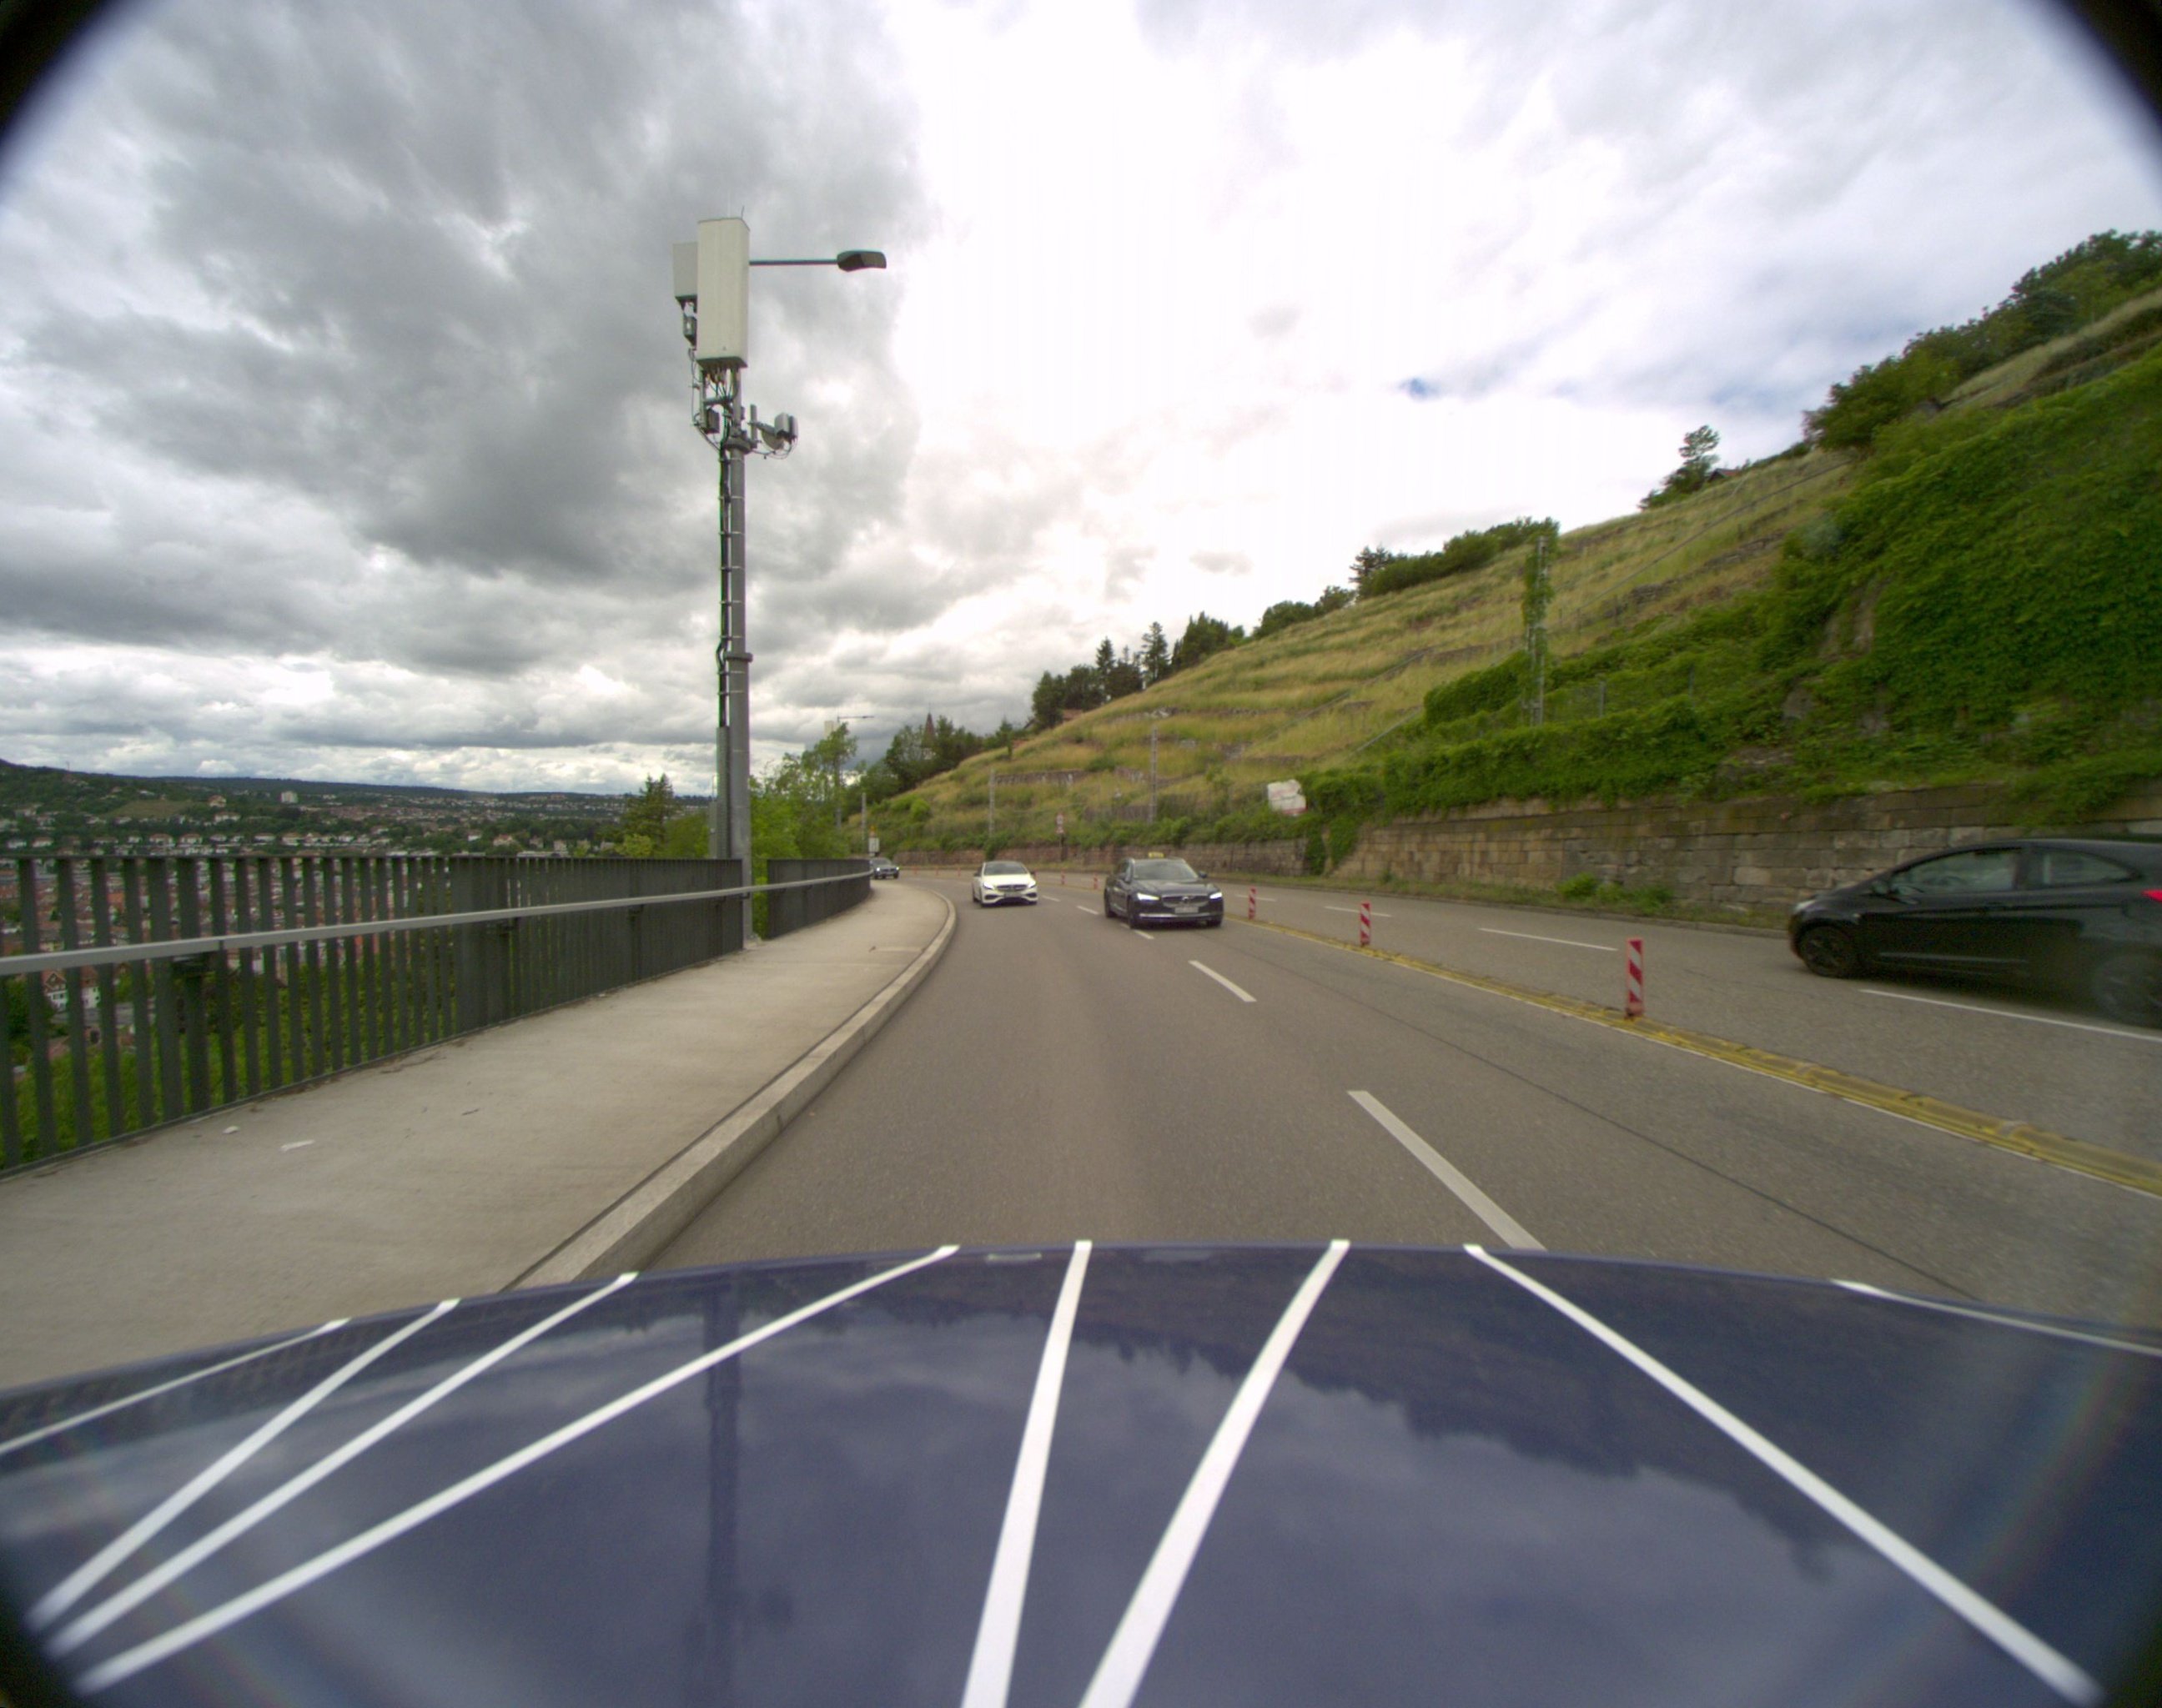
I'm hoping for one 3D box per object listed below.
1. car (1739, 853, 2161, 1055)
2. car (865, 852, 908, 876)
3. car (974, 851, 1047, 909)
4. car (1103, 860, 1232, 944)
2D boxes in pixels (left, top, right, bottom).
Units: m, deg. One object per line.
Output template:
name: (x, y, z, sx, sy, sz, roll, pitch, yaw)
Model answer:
car: (8.682, 0.730, 6.975, 1.711, 1.433, 3.999, -2, 0, -2)
car: (-14.932, 0.750, 58.204, 2.003, 1.661, 4.527, -1, 0, -29)
car: (-2.444, 0.812, 25.300, 2.000, 1.708, 3.997, -2, 0, -11)
car: (1.738, 0.930, 16.672, 1.902, 1.485, 4.139, -2, 1, -6)
